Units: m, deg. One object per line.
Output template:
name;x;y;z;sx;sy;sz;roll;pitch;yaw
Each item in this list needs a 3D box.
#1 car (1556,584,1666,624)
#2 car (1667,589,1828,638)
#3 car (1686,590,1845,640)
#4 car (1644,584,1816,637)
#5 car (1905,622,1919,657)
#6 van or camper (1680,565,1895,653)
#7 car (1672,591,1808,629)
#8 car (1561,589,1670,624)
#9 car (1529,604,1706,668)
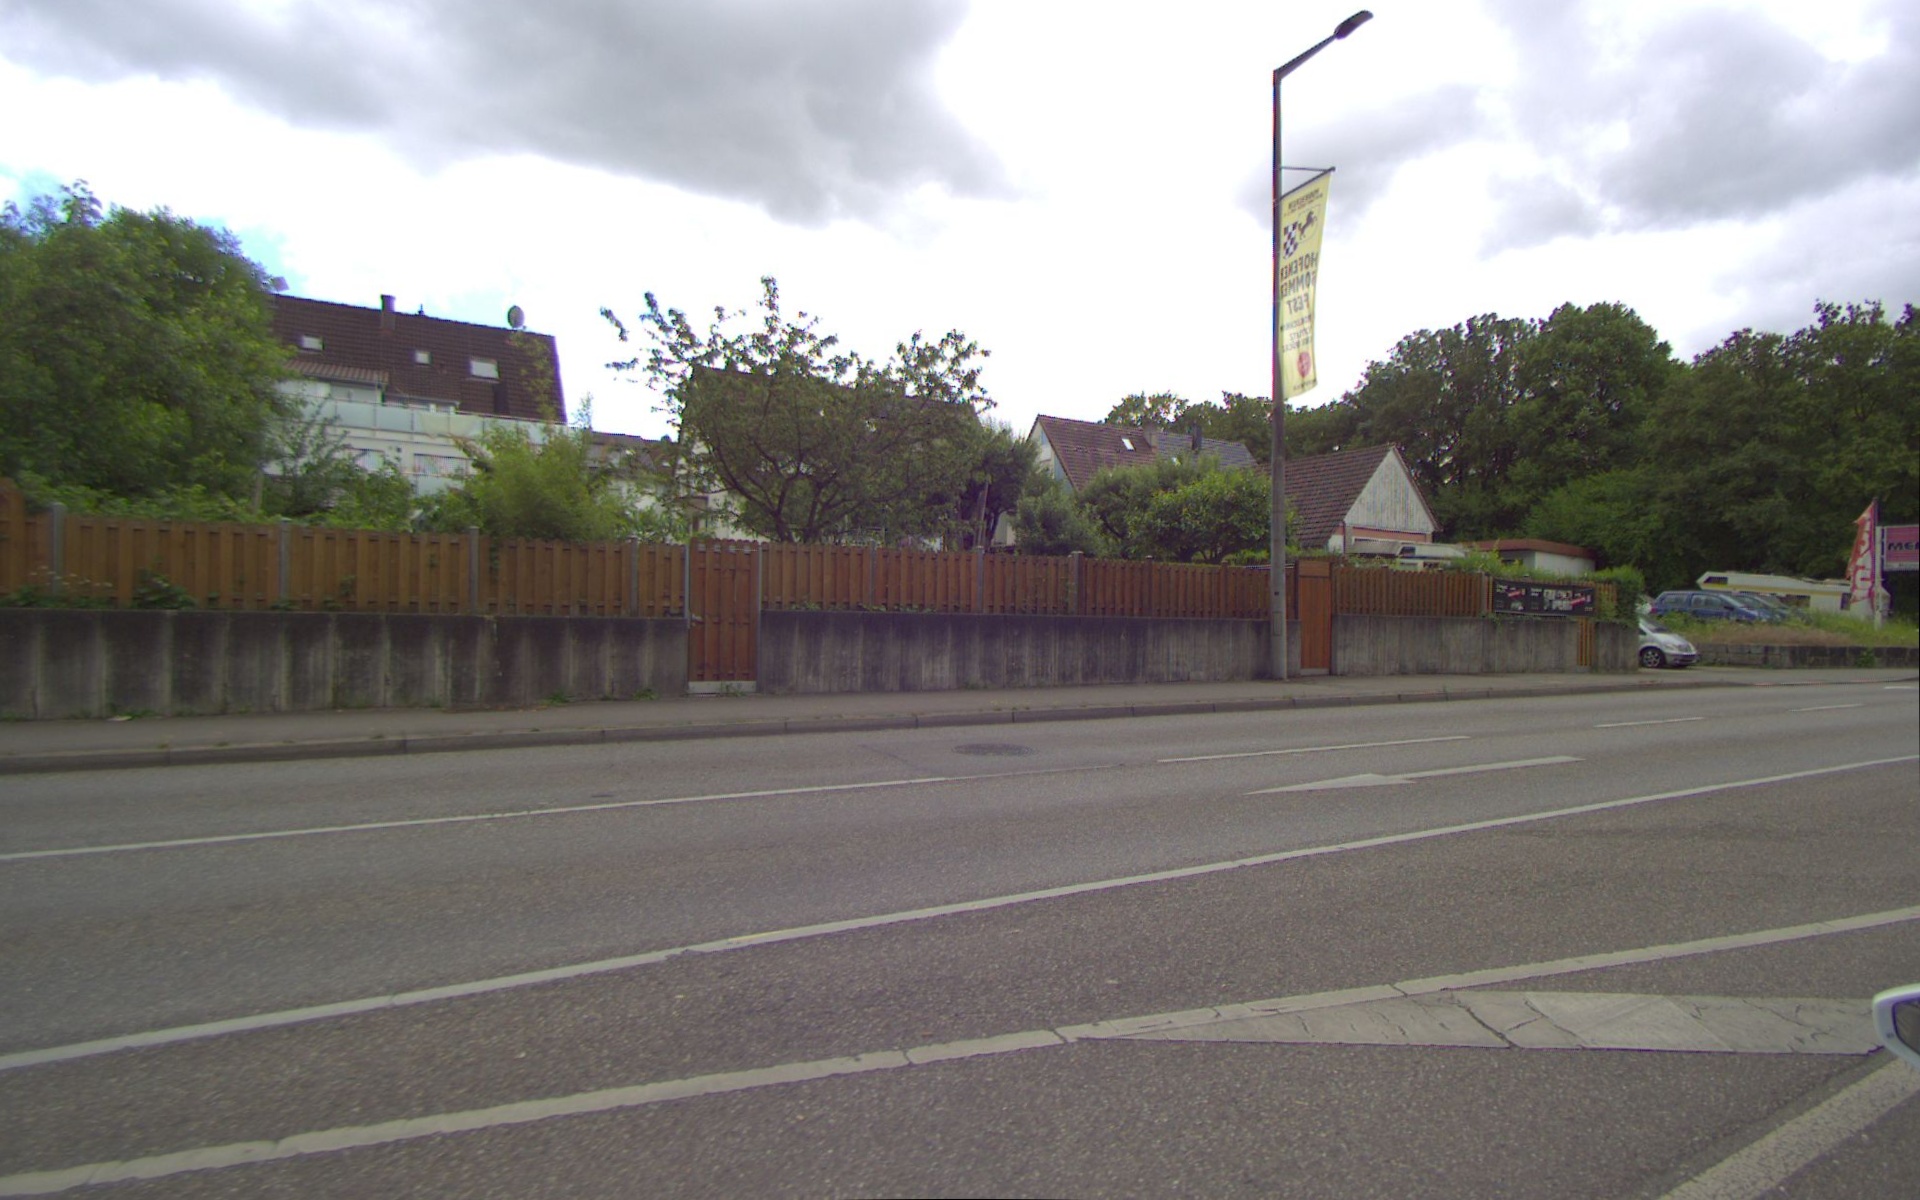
car;24.139;0.156;37.201;4.354;1.360;1.836;1;0;-33
car;26.240;0.415;33.626;1.513;1.430;3.974;2;0;-25
car;27.798;0.487;34.799;1.626;1.512;3.974;2;0;-26
car;24.775;0.306;32.469;1.835;1.517;3.974;2;0;-26
car;42.465;1.762;41.697;1.940;1.460;4.349;1;1;-32
van or camper;38.909;0.325;47.544;2.764;3.417;7.105;1;5;-30
car;32.251;0.382;41.638;1.974;1.388;3.974;2;0;-26
car;29.786;0.286;45.730;1.822;1.419;3.732;2;0;-26
car;19.612;1.041;30.132;1.976;1.639;3.969;2;0;-29
